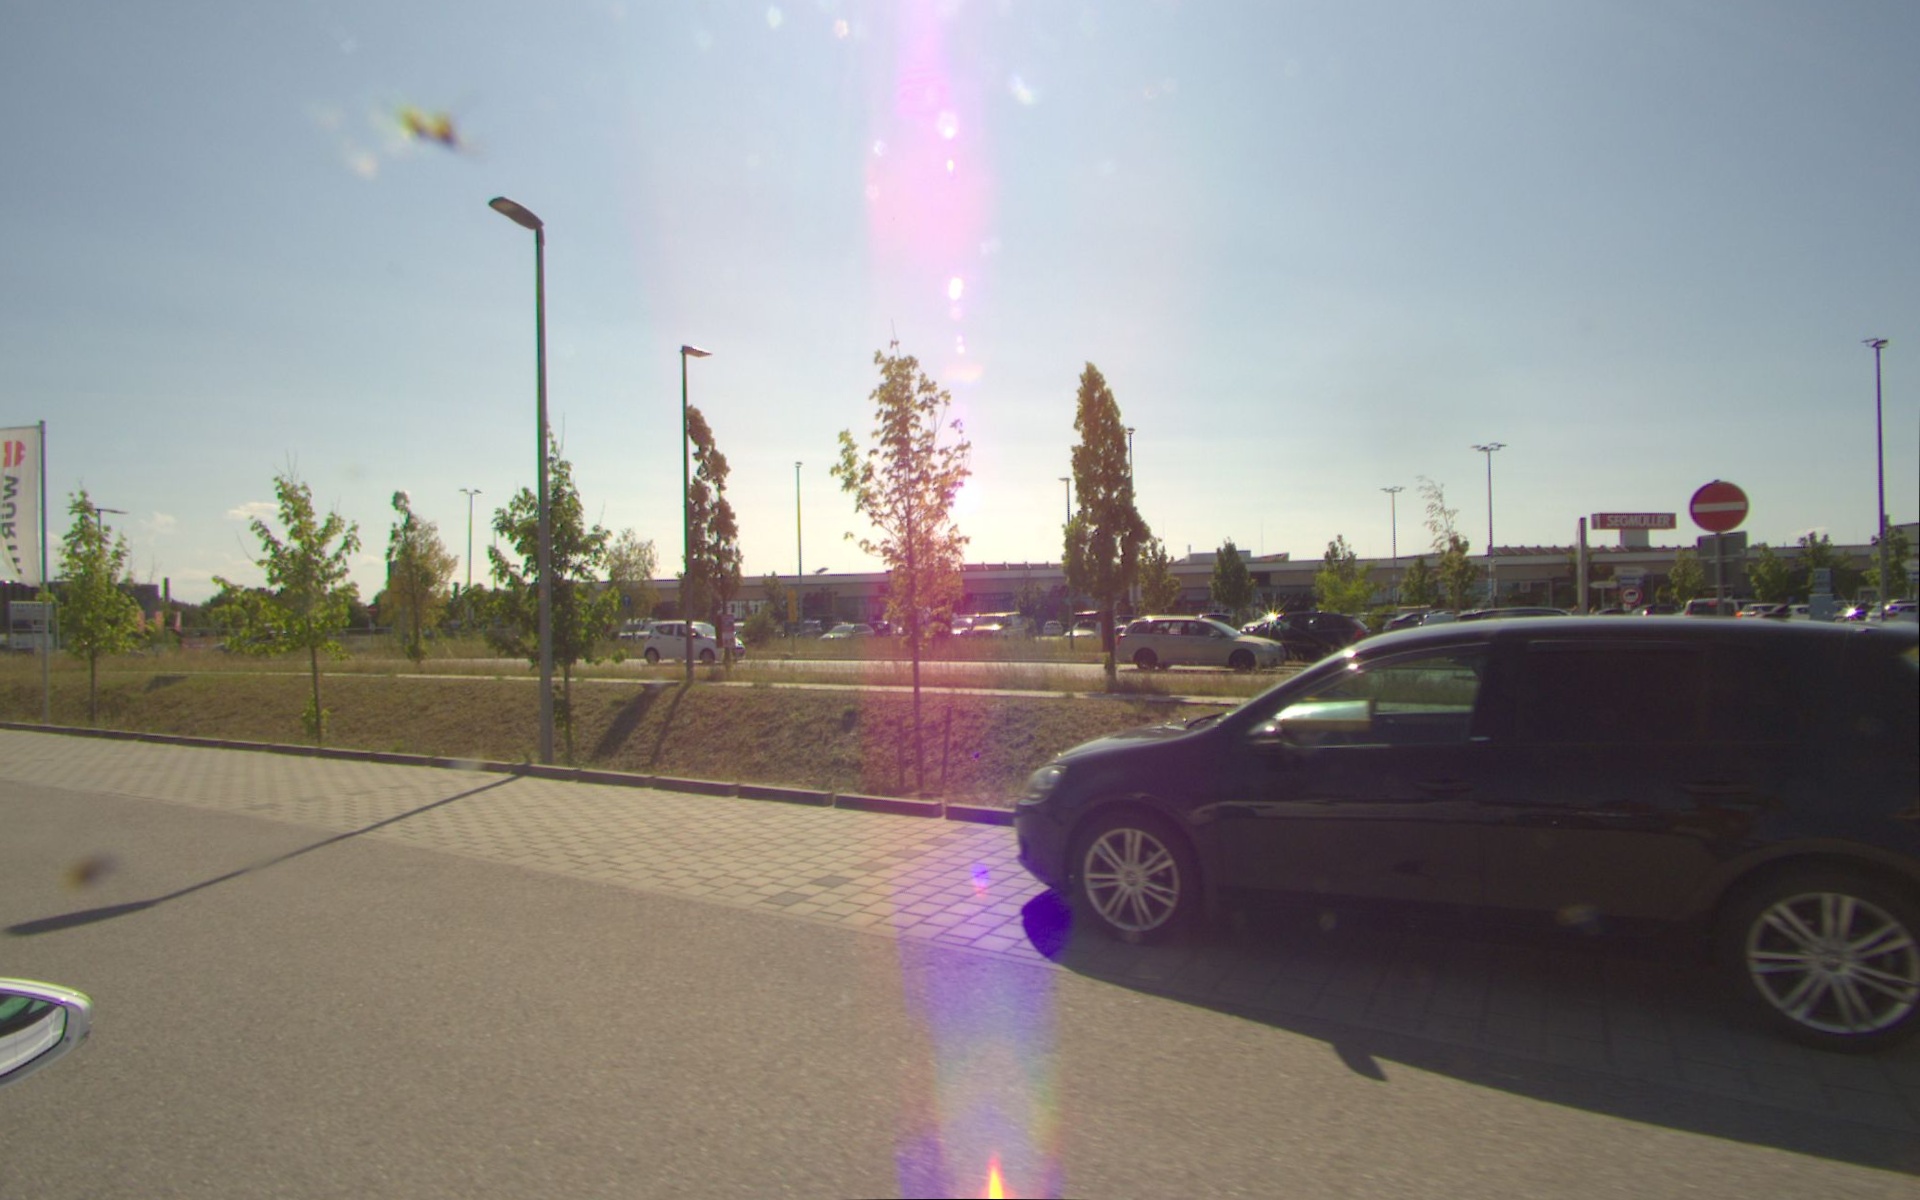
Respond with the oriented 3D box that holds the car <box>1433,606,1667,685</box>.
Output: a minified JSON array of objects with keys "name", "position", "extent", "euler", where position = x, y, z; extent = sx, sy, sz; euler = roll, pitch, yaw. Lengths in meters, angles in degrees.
[{"name":"car","position":[13.556,1.005,23.329],"extent":[4.532,1.686,1.871],"euler":[-1,-1,29]}]

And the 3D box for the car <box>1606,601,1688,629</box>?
[{"name":"car","position":[47.840,1.051,69.788],"extent":[4.319,1.879,1.956],"euler":[0,-1,5]}]

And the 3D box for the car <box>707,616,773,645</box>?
[{"name":"car","position":[-13.764,1.888,62.795],"extent":[1.965,1.748,4.415],"euler":[0,-1,20]}]

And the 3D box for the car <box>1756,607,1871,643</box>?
[{"name":"car","position":[45.874,1.321,53.884],"extent":[4.320,1.879,1.955],"euler":[0,-1,8]}]

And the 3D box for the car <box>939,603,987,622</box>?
[{"name":"car","position":[0.199,0.985,76.459],"extent":[3.421,1.418,1.431],"euler":[0,-1,15]}]

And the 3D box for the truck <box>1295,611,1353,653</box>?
[{"name":"truck","position":[17.544,1.490,48.047],"extent":[1.969,1.888,5.413],"euler":[0,-1,27]}]

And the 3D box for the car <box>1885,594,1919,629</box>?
[{"name":"car","position":[53.411,0.630,54.379],"extent":[4.320,1.879,1.955],"euler":[0,-1,8]}]

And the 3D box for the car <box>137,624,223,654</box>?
[{"name":"car","position":[-43.496,2.134,55.946],"extent":[1.681,1.618,3.667],"euler":[0,-1,8]}]

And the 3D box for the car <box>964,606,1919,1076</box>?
[{"name":"car","position":[2.239,0.816,4.779],"extent":[4.057,1.496,1.834],"euler":[-1,0,29]}]

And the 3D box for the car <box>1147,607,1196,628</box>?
[{"name":"car","position":[16.156,1.320,76.684],"extent":[3.408,1.572,1.667],"euler":[0,-1,3]}]

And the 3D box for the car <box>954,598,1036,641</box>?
[{"name":"car","position":[2.070,1.106,56.635],"extent":[2.768,2.266,6.299],"euler":[0,-1,21]}]

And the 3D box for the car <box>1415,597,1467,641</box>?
[{"name":"car","position":[21.702,0.874,45.097],"extent":[1.969,1.870,4.714],"euler":[0,-1,28]}]

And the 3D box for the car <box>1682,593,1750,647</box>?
[{"name":"car","position":[29.750,0.800,39.344],"extent":[1.857,1.979,4.856],"euler":[0,-1,41]}]

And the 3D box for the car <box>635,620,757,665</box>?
[{"name":"car","position":[-9.393,1.482,35.602],"extent":[3.934,1.503,1.873],"euler":[0,-1,25]}]

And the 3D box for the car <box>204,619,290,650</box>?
[{"name":"car","position":[-38.282,1.845,53.884],"extent":[1.681,1.618,3.667],"euler":[0,-1,8]}]

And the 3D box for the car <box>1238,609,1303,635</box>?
[{"name":"car","position":[20.467,1.429,66.051],"extent":[4.220,1.639,1.986],"euler":[0,-1,-36]}]

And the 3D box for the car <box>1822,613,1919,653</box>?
[{"name":"car","position":[44.836,1.591,48.480],"extent":[4.320,1.879,1.955],"euler":[0,-1,8]}]

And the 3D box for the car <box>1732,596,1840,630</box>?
[{"name":"car","position":[46.553,0.761,56.513],"extent":[4.320,1.879,1.955],"euler":[0,-1,8]}]

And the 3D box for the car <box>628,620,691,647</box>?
[{"name":"car","position":[-18.884,2.073,63.145],"extent":[1.811,1.639,3.656],"euler":[0,-1,27]}]

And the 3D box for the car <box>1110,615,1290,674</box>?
[{"name":"car","position":[6.582,1.177,27.549],"extent":[4.532,1.503,1.871],"euler":[-1,-1,29]}]

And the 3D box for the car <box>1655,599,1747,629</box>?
[{"name":"car","position":[47.409,0.928,64.132],"extent":[4.319,1.879,1.956],"euler":[0,-1,5]}]

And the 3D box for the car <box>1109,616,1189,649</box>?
[{"name":"car","position":[11.078,1.890,58.678],"extent":[4.331,1.870,1.996],"euler":[0,-1,22]}]

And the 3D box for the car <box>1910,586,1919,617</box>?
[{"name":"car","position":[65.084,0.063,65.426],"extent":[3.924,2.040,1.999],"euler":[0,-1,11]}]

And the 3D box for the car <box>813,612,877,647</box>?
[{"name":"car","position":[-6.842,1.759,60.265],"extent":[1.964,2.040,5.070],"euler":[0,-1,17]}]

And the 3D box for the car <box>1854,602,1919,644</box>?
[{"name":"car","position":[44.223,1.060,45.998],"extent":[4.320,1.879,1.955],"euler":[0,-1,8]}]

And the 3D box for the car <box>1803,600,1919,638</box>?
[{"name":"car","position":[46.005,0.966,50.973],"extent":[4.320,1.879,1.955],"euler":[0,-1,8]}]

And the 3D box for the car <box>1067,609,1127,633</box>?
[{"name":"car","position":[9.623,1.493,70.097],"extent":[3.927,1.639,1.998],"euler":[-1,-1,16]}]

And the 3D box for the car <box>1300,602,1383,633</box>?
[{"name":"car","position":[25.574,1.153,67.265],"extent":[4.836,2.040,2.083],"euler":[0,-1,4]}]

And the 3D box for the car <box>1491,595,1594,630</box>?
[{"name":"car","position":[32.217,0.714,55.500],"extent":[4.485,1.879,1.955],"euler":[0,-1,8]}]

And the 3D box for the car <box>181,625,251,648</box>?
[{"name":"car","position":[-47.541,2.329,64.098],"extent":[1.559,1.413,3.716],"euler":[0,-1,4]}]

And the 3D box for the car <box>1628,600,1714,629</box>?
[{"name":"car","position":[47.552,0.991,67.022],"extent":[4.319,1.879,1.956],"euler":[0,-1,5]}]

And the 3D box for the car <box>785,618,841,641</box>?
[{"name":"car","position":[-10.770,2.133,73.522],"extent":[3.615,1.639,1.905],"euler":[0,-1,15]}]

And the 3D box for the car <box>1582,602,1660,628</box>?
[{"name":"car","position":[47.852,1.110,72.528],"extent":[4.319,1.879,1.956],"euler":[0,-1,5]}]

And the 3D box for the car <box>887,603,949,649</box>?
[{"name":"car","position":[-2.361,1.490,57.886],"extent":[1.964,2.487,5.070],"euler":[0,-1,17]}]

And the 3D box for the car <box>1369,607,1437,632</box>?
[{"name":"car","position":[33.595,1.494,76.036],"extent":[4.320,1.879,1.955],"euler":[0,-1,8]}]

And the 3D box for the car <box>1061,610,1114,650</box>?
[{"name":"car","position":[6.984,1.619,54.344],"extent":[1.964,2.040,5.172],"euler":[0,-1,17]}]

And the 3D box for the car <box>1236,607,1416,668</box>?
[{"name":"car","position":[10.561,1.046,28.969],"extent":[4.726,1.646,1.995],"euler":[0,-1,24]}]
